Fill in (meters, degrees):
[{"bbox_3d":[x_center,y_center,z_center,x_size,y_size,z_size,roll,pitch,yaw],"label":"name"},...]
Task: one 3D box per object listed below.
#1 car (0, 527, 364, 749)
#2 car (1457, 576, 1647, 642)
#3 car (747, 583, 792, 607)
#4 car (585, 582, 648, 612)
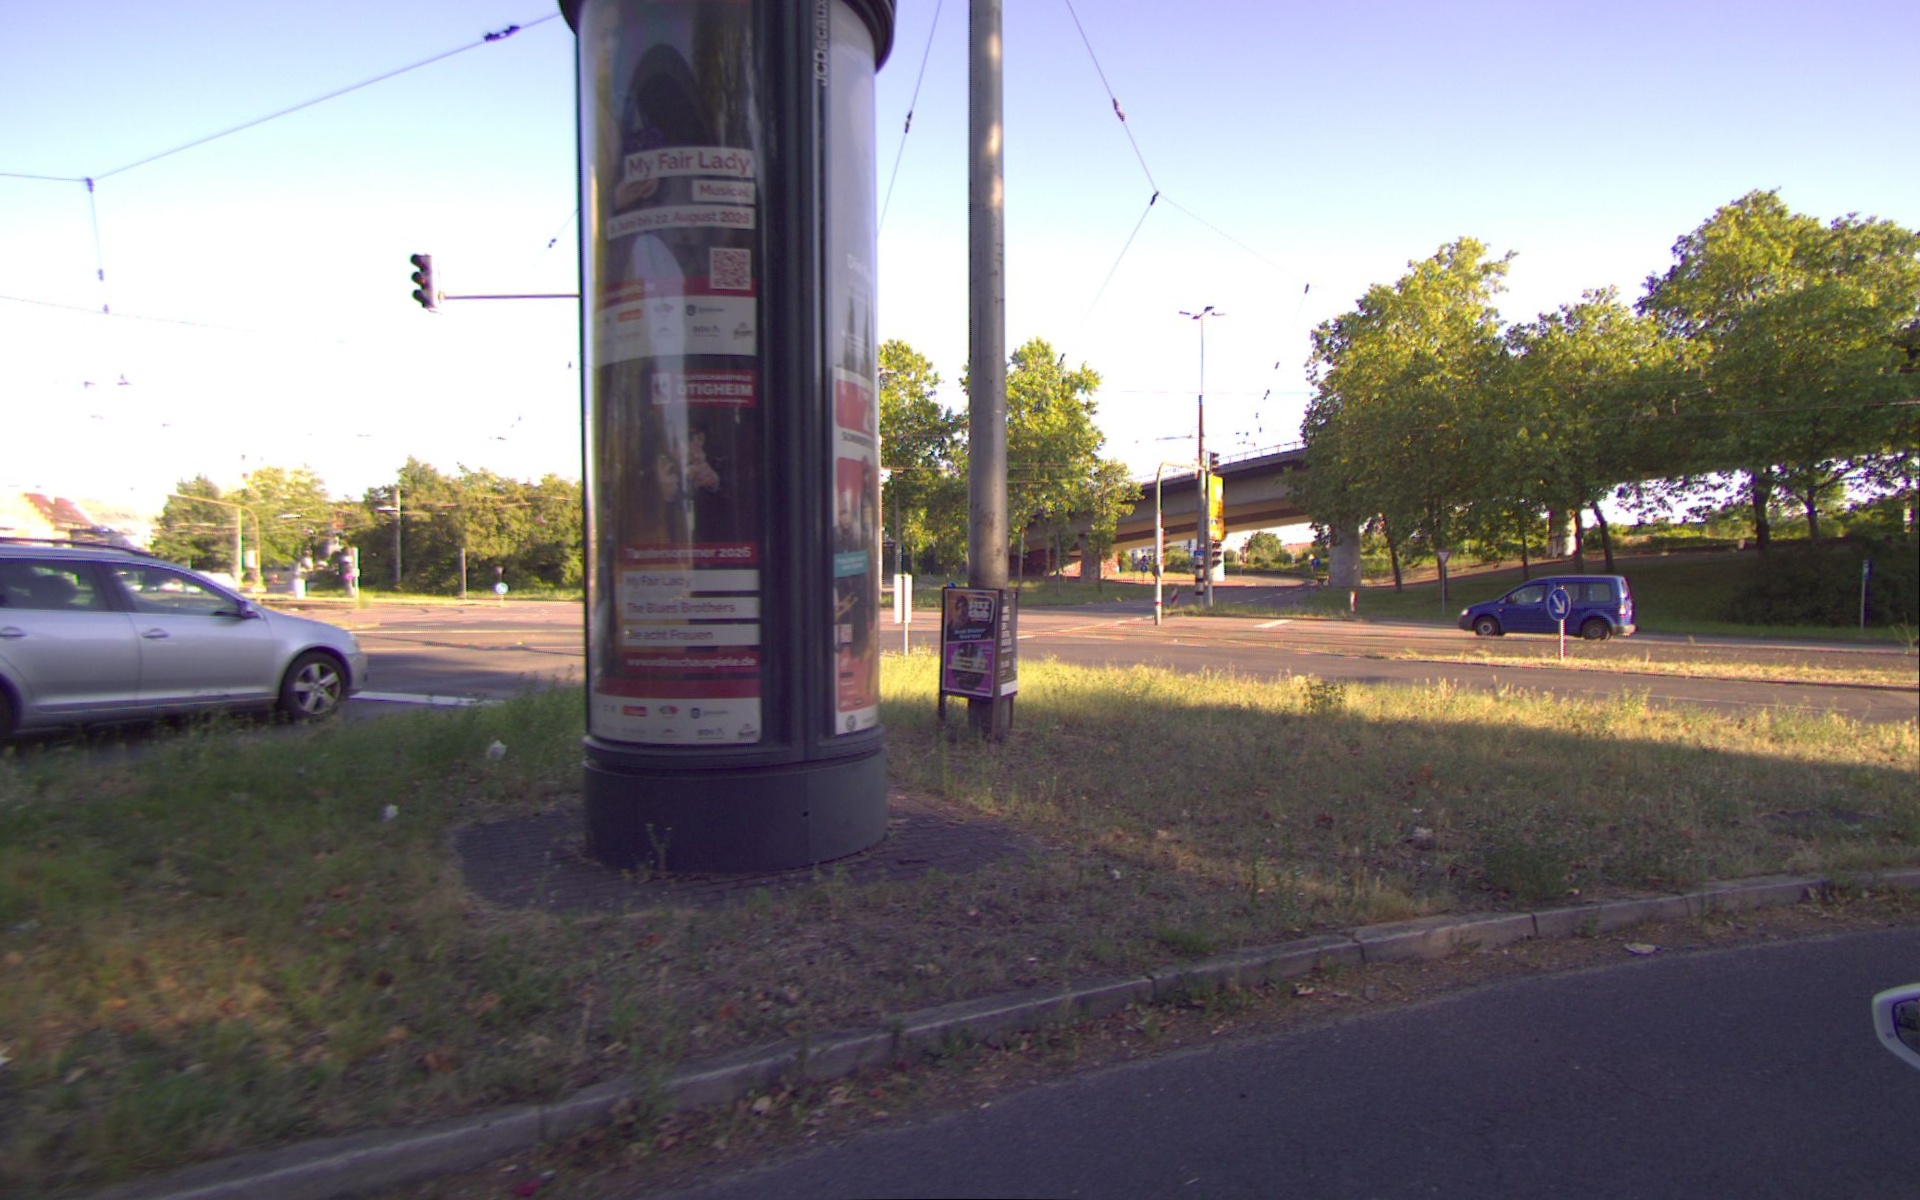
[{"bbox_3d":[-6.963,0.271,7.662,1.762,1.461,4.001,-2,0,16],"label":"car"},{"bbox_3d":[16.774,0.205,28.548,4.445,1.715,1.993,1,1,37],"label":"car"},{"bbox_3d":[-14.685,-0.401,77.697,1.846,1.795,4.001,1,1,15],"label":"car"},{"bbox_3d":[-21.586,-0.213,63.349,1.846,1.795,4.001,1,1,15],"label":"car"}]
